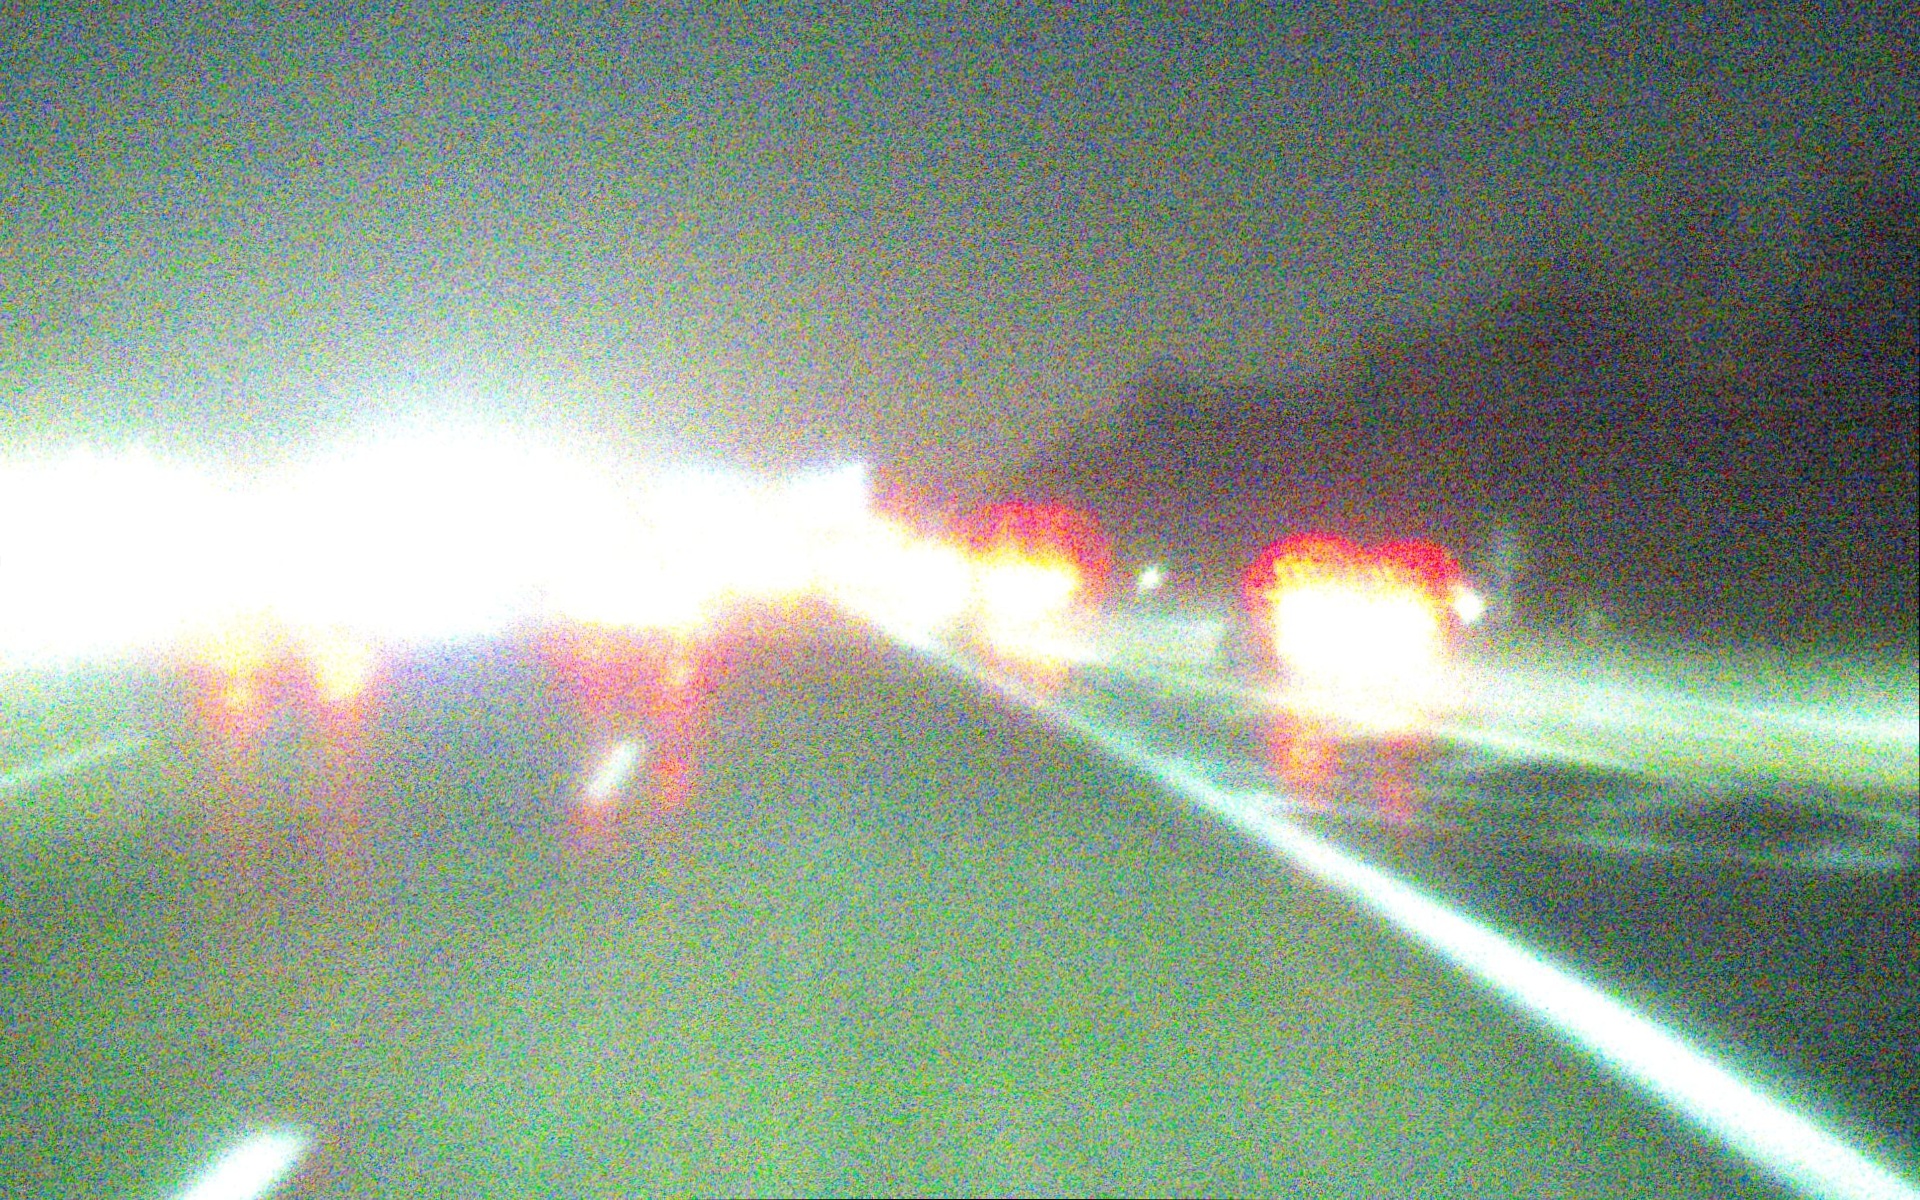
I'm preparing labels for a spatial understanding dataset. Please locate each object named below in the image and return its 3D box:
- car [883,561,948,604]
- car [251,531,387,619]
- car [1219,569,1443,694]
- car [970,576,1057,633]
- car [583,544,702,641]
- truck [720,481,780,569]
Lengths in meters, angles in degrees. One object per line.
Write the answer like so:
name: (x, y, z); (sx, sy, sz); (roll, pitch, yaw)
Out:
car: (-1.343, -0.519, 103.000); (1.580, 1.242, 3.069); (2, 0, -7)
car: (-9.708, -0.363, 52.268); (1.662, 1.232, 3.762); (-2, 0, -5)
car: (5.077, 0.400, 47.741); (2.057, 1.514, 5.016); (3, 1, -5)
car: (1.252, 0.099, 81.931); (1.580, 1.242, 3.069); (3, 1, -7)
car: (-5.269, -0.148, 57.488); (1.801, 1.482, 4.001); (3, 1, -4)
truck: (-7.752, -2.729, 127.275); (1.993, 3.032, 6.465); (-2, 0, -2)
